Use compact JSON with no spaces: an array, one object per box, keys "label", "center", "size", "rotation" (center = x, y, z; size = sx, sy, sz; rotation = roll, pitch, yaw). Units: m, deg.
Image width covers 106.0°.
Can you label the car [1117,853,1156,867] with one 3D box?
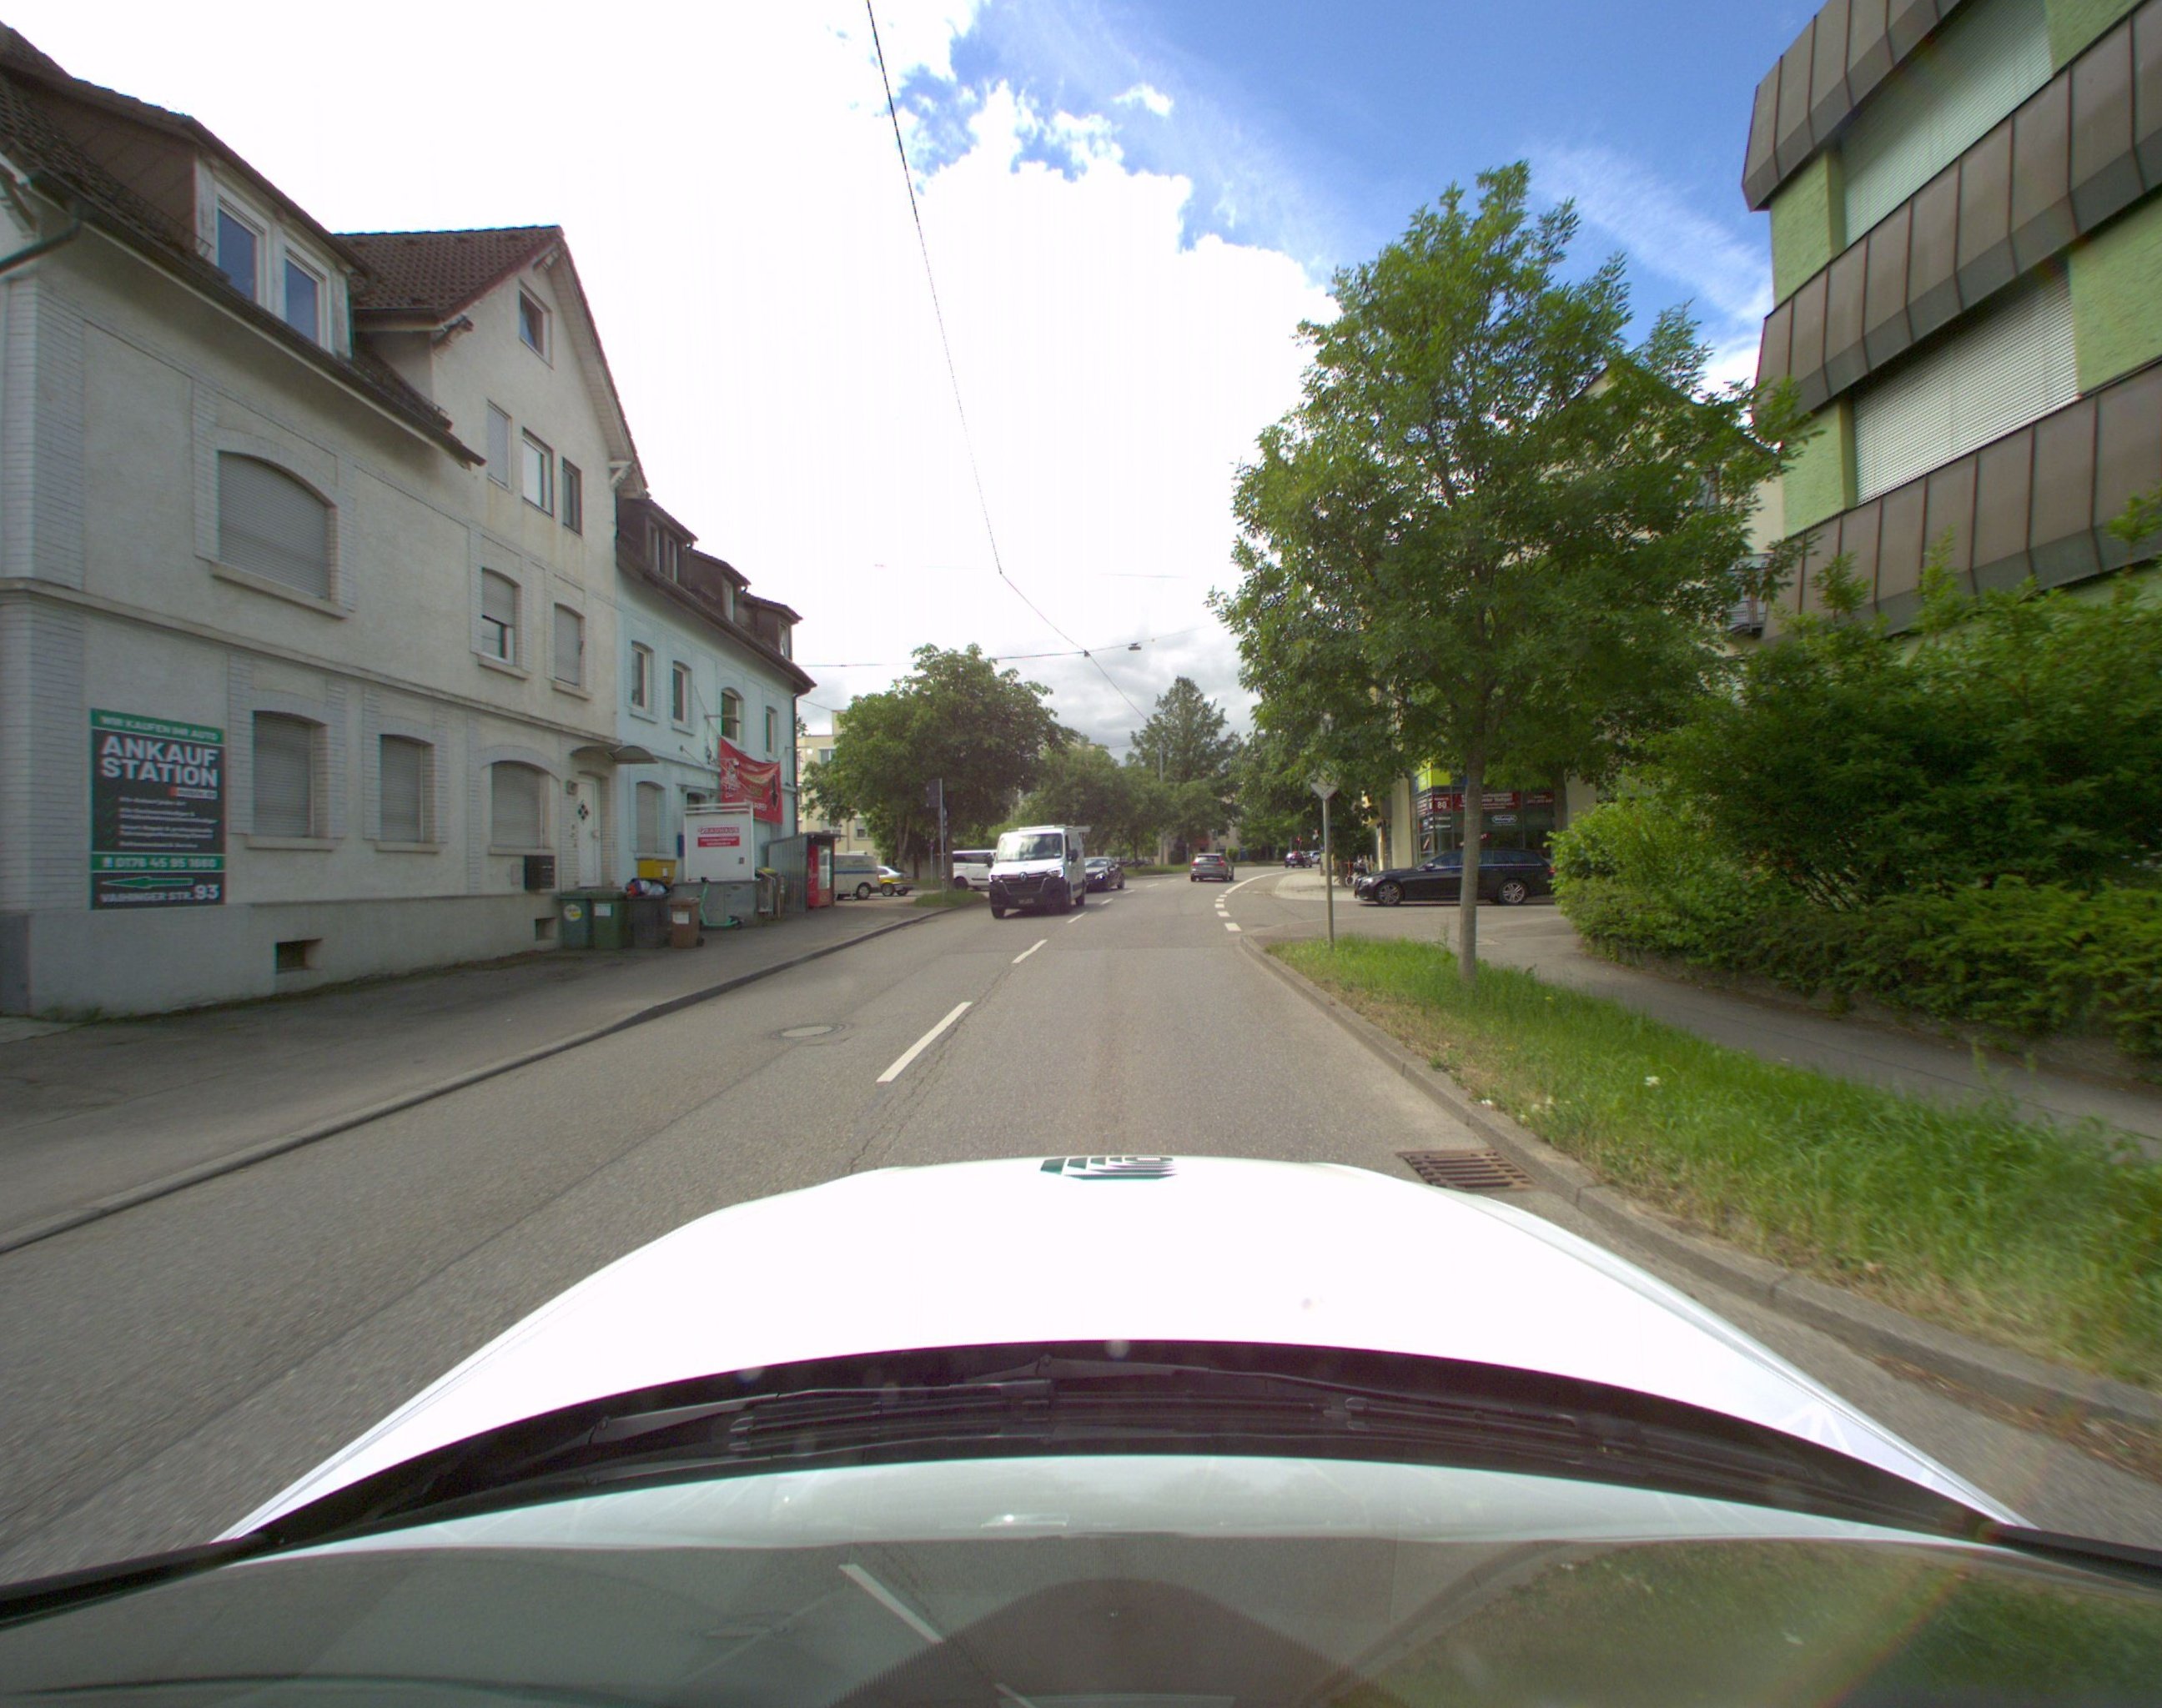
[{"label":"car","center":[6.221,0.650,91.065],"size":[4.046,1.400,1.802],"rotation":[-2,-4,17]}]

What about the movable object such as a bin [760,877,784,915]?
[{"label":"movable object such as a bin","center":[-8.561,1.154,22.567],"size":[0.431,1.040,0.518],"rotation":[-1,-1,0]}]

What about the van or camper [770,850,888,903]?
[{"label":"van or camper","center":[-10.319,0.889,33.572],"size":[1.767,1.994,4.407],"rotation":[-3,-2,37]}]

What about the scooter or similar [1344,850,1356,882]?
[{"label":"scooter or similar","center":[11.594,0.514,35.122],"size":[0.378,1.316,1.465],"rotation":[-1,-1,15]}]

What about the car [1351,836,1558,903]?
[{"label":"car","center":[9.566,0.416,21.266],"size":[4.637,1.628,1.817],"rotation":[-1,-1,14]}]

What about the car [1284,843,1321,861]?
[{"label":"car","center":[19.407,-0.221,71.209],"size":[1.787,1.523,4.357],"rotation":[1,2,34]}]

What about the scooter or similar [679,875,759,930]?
[{"label":"scooter or similar","center":[-8.112,1.077,18.283],"size":[1.548,1.184,0.546],"rotation":[-1,-1,1]}]

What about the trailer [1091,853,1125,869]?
[{"label":"trailer","center":[3.349,0.855,101.275],"size":[3.878,1.799,1.637],"rotation":[-1,-4,14]}]

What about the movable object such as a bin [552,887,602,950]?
[{"label":"movable object such as a bin","center":[-9.139,1.168,14.789],"size":[0.563,1.101,0.562],"rotation":[0,-1,-3]}]

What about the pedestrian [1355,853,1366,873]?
[{"label":"pedestrian","center":[16.719,0.551,48.681],"size":[0.572,1.204,0.505],"rotation":[-2,-1,18]}]

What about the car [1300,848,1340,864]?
[{"label":"car","center":[26.071,0.232,88.740],"size":[4.346,1.616,1.791],"rotation":[1,0,-34]}]

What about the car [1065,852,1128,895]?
[{"label":"car","center":[0.710,0.746,33.260],"size":[1.676,1.482,4.240],"rotation":[-6,-1,12]}]

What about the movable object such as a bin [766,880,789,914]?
[{"label":"movable object such as a bin","center":[-8.650,1.214,23.200],"size":[0.445,0.932,0.518],"rotation":[-1,-1,0]}]

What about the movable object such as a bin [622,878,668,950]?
[{"label":"movable object such as a bin","center":[-7.963,1.083,14.890],"size":[0.563,1.273,0.562],"rotation":[0,0,-3]}]

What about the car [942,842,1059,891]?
[{"label":"car","center":[-3.930,0.623,39.924],"size":[5.169,1.993,2.119],"rotation":[-4,0,19]}]

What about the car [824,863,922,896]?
[{"label":"car","center":[-9.669,1.192,37.972],"size":[3.988,1.413,1.822],"rotation":[-2,-1,13]}]

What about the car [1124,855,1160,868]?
[{"label":"car","center":[7.457,0.944,100.004],"size":[4.046,1.400,1.802],"rotation":[-2,-4,17]}]

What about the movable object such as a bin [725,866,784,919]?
[{"label":"movable object such as a bin","center":[-8.593,0.997,21.497],"size":[1.016,1.355,1.247],"rotation":[-1,-1,0]}]

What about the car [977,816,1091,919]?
[{"label":"car","center":[-1.120,0.289,22.496],"size":[2.052,2.353,5.193],"rotation":[-5,0,7]}]

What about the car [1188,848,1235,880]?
[{"label":"car","center":[6.875,0.487,42.471],"size":[1.941,1.523,4.347],"rotation":[-1,1,15]}]

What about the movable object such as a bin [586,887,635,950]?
[{"label":"movable object such as a bin","center":[-8.558,1.162,14.832],"size":[0.563,1.101,0.562],"rotation":[0,-1,-3]}]
